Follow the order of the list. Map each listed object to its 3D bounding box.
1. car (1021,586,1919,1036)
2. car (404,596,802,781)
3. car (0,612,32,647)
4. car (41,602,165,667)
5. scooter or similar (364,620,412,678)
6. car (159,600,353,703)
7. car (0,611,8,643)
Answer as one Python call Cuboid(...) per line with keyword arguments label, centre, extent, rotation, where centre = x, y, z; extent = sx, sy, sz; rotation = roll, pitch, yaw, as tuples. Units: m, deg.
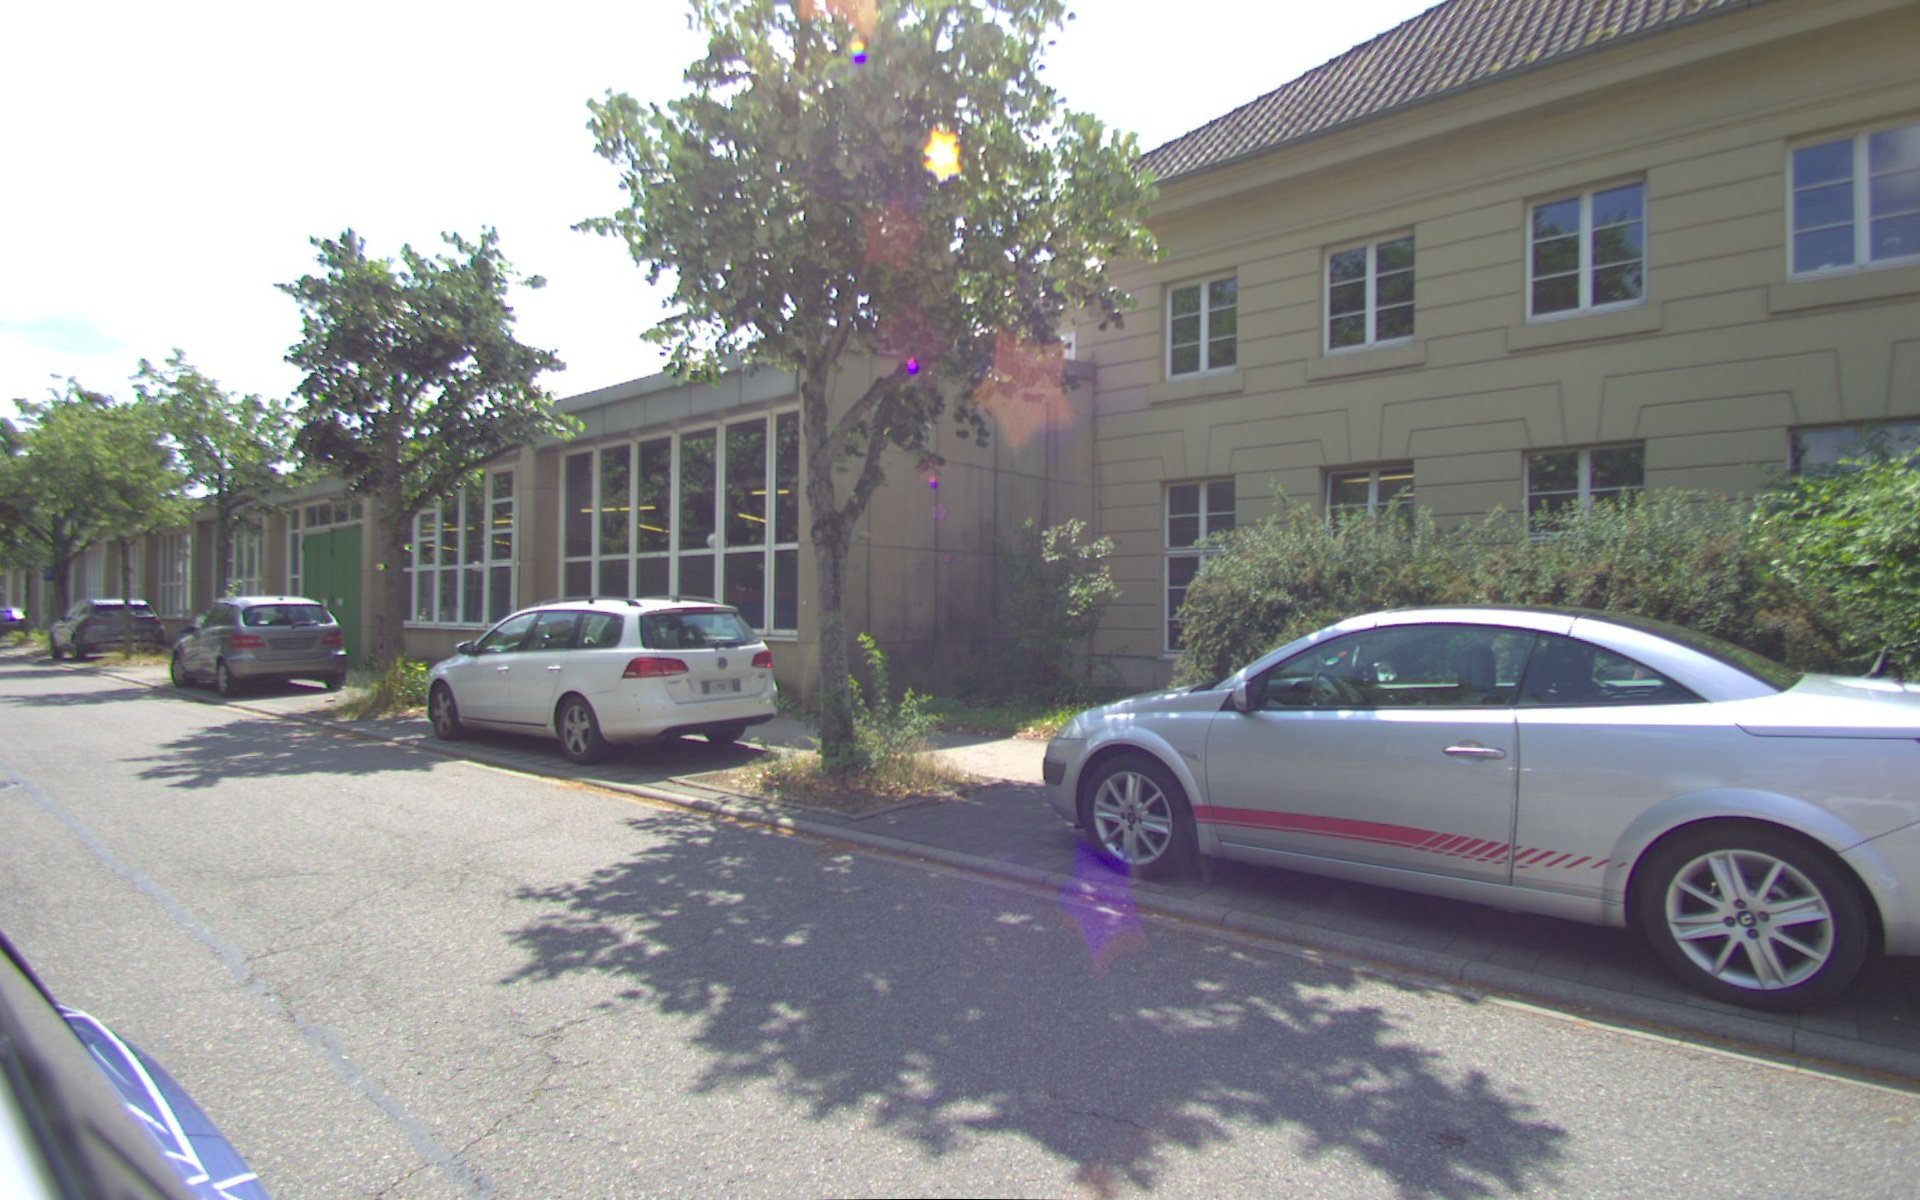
Cuboid(label="car", centre=(2.442, 0.655, 4.724), extent=(4.165, 1.354, 1.706), rotation=(-1, 1, 43))
Cuboid(label="car", centre=(-3.796, 0.723, 10.319), extent=(4.579, 1.467, 1.708), rotation=(0, 1, 40))
Cuboid(label="car", centre=(-41.659, 1.288, 43.787), extent=(4.286, 1.446, 1.708), rotation=(-2, 0, 41))
Cuboid(label="car", centre=(-23.939, 0.905, 28.213), extent=(4.512, 1.644, 1.804), rotation=(0, 1, 39))
Cuboid(label="scooter or similar", centre=(-12.194, 1.022, 21.561), extent=(1.215, 1.178, 0.500), rotation=(-1, 0, 42))
Cuboid(label="car", centre=(-12.436, 0.812, 17.802), extent=(4.109, 1.568, 1.740), rotation=(0, 1, 39))
Cuboid(label="car", centre=(-46.011, 1.273, 47.417), extent=(3.750, 1.460, 1.613), rotation=(-1, 2, 41))
